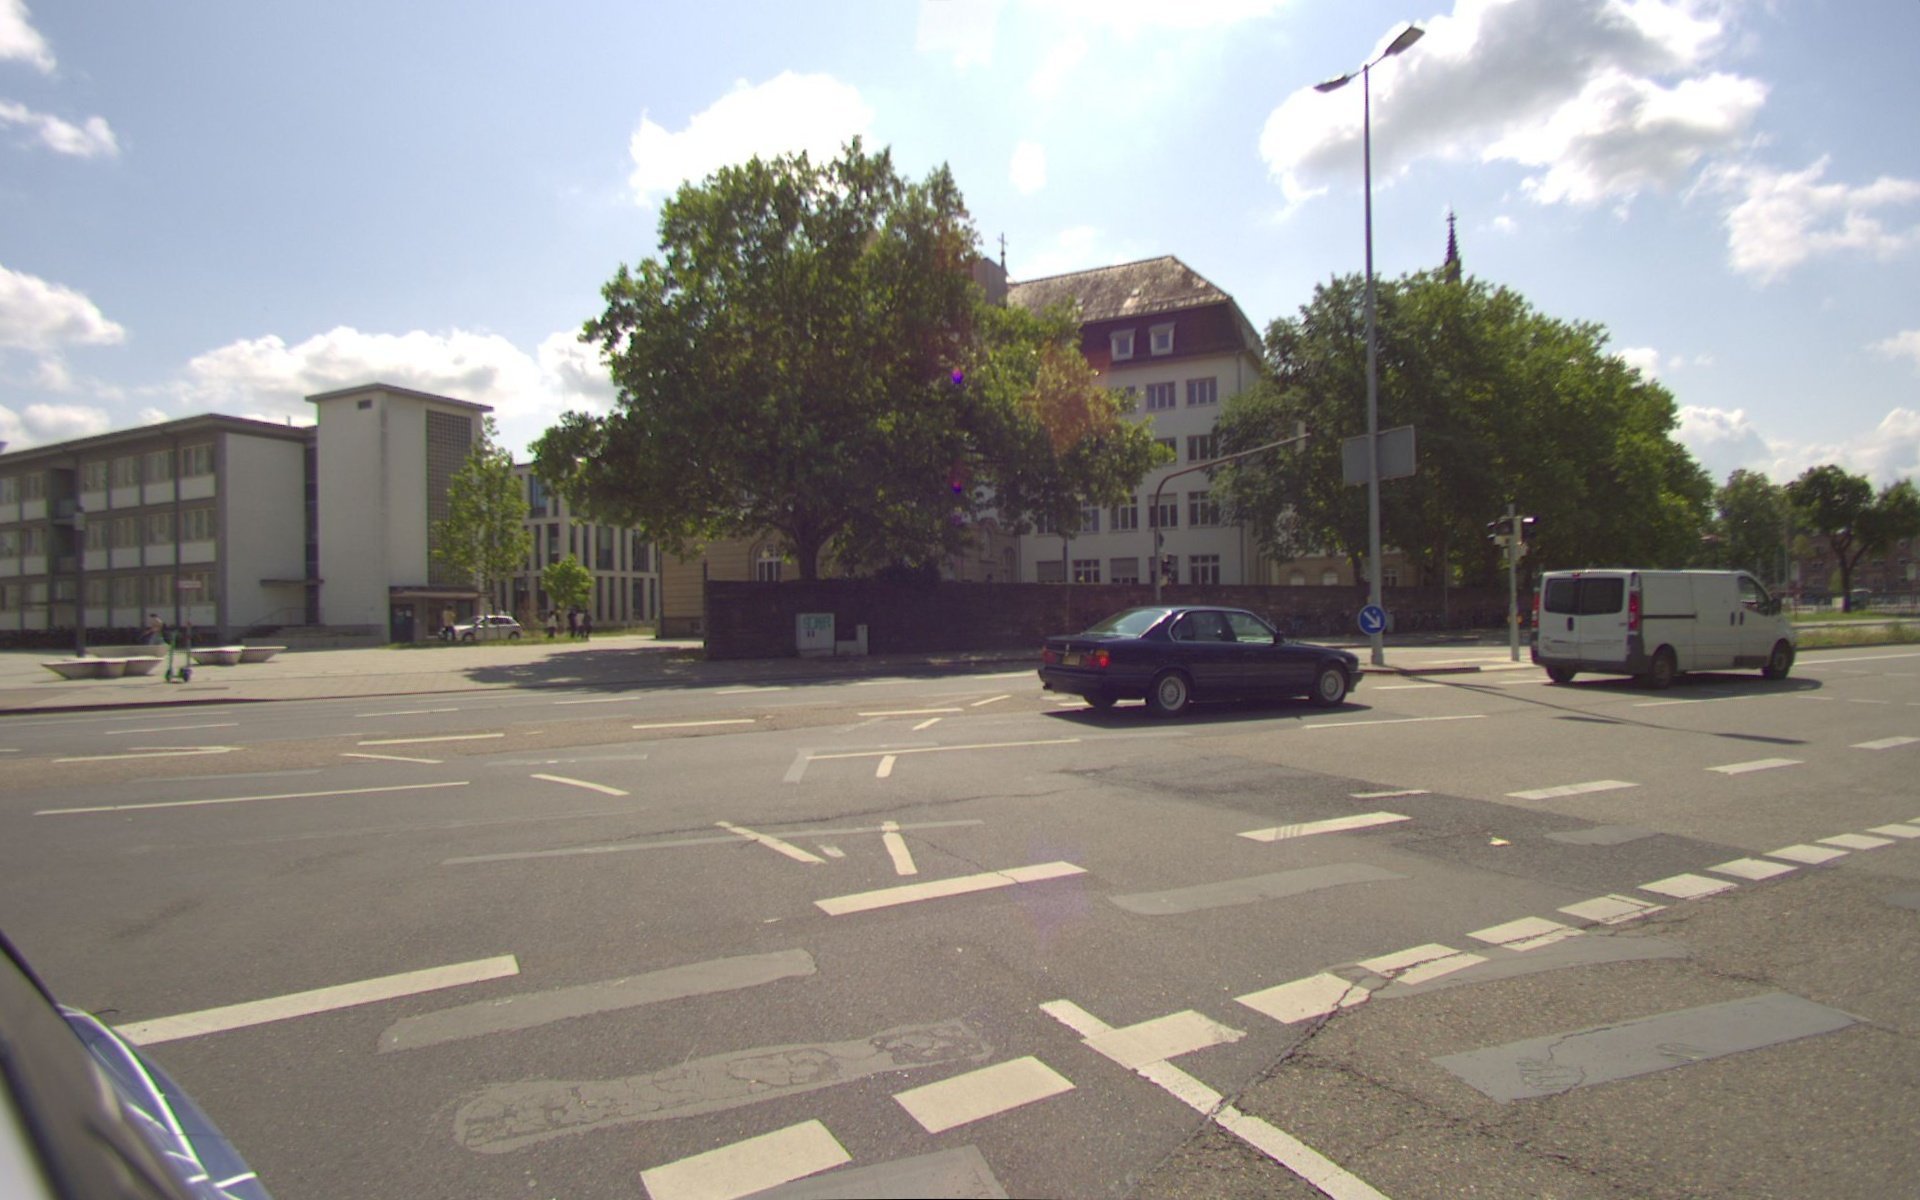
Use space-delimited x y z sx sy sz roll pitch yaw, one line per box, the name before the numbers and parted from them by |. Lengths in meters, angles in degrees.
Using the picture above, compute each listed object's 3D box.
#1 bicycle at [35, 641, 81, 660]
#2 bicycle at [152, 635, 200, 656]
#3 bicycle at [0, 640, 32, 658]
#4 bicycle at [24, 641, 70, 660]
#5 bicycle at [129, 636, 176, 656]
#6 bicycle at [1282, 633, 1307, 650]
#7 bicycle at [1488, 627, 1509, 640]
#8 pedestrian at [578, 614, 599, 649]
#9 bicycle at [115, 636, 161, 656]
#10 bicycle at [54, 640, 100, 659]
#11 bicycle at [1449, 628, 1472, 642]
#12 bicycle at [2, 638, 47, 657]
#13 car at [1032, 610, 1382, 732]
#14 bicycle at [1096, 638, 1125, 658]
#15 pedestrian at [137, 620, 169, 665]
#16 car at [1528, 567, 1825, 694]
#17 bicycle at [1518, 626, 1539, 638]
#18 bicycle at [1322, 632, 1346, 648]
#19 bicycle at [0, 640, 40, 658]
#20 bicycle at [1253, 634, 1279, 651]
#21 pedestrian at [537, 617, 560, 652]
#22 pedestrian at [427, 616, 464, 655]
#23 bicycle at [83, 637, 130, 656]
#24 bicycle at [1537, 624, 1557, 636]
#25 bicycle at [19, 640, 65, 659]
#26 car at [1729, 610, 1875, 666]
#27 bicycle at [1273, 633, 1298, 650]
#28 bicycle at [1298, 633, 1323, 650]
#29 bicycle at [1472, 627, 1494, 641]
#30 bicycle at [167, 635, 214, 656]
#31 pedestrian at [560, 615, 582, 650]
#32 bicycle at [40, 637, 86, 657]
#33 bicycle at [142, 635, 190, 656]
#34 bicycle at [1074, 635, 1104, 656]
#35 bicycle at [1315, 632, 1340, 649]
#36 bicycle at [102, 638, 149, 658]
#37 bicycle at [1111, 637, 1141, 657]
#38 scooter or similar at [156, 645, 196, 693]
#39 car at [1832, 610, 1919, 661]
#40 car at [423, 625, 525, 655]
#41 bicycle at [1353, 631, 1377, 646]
bicycle | -48.161 2.674 54.076 0.527 0.962 1.754 1 -1 32
bicycle | -38.522 2.212 49.738 0.527 0.962 1.754 1 -1 32
bicycle | -53.385 2.764 56.858 0.527 0.962 1.754 1 -1 32
bicycle | -49.481 2.721 54.842 0.527 0.962 1.754 1 -1 32
bicycle | -40.475 2.299 50.737 0.527 0.962 1.754 1 -1 32
bicycle | 14.342 1.783 43.409 1.001 0.687 0.406 0 0 22
bicycle | 29.734 1.835 55.868 1.001 0.687 0.406 0 0 22
pedestrian | -19.540 1.642 53.190 0.852 1.803 0.845 -1 -1 -7
bicycle | -41.664 2.334 51.310 0.527 0.962 1.754 1 -1 32
bicycle | -46.249 2.581 53.011 0.527 0.962 1.754 1 -1 32
bicycle | 25.932 1.822 52.440 1.001 0.687 0.406 0 0 22
bicycle | -51.696 2.620 55.947 0.527 0.962 1.754 1 -1 32
car | 3.381 0.862 13.716 4.534 1.397 1.703 0 -1 -25
bicycle | 5.515 1.752 37.122 1.005 0.687 0.404 0 0 36
pedestrian | -32.869 1.742 41.227 0.675 1.803 0.835 -2 -2 30
car | 12.604 0.457 17.768 5.104 1.970 2.019 0 0 -26
bicycle | 33.149 1.854 59.008 1.001 0.687 0.406 0 0 22
bicycle | 16.727 1.786 45.272 1.001 0.687 0.406 0 0 22
bicycle | -52.495 2.712 56.367 0.527 0.962 1.754 1 -1 32
bicycle | 12.891 1.778 42.600 1.001 0.687 0.406 0 0 22
pedestrian | -21.672 1.793 53.295 0.804 1.803 0.842 -1 -1 4
pedestrian | -23.086 1.580 45.438 1.277 1.663 1.330 -1 -1 -17
bicycle | -43.911 2.388 52.072 0.527 0.962 1.754 1 -1 32
bicycle | 35.933 1.854 61.989 1.001 0.687 0.406 0 0 22
bicycle | -50.041 2.686 55.183 0.527 0.962 1.754 1 -1 32
car | 24.097 1.042 28.968 3.739 1.483 1.760 0 -1 -25
bicycle | 13.846 1.781 43.048 1.001 0.687 0.406 0 0 22
bicycle | 15.195 1.786 43.913 1.001 0.687 0.406 0 0 22
bicycle | 28.143 1.830 54.483 1.001 0.687 0.406 0 0 22
bicycle | -37.293 2.218 49.076 0.528 0.962 1.753 0 -1 34
pedestrian | -20.497 1.707 53.315 0.879 1.803 0.844 -1 -2 -3
bicycle | -47.439 2.480 53.547 0.527 0.962 1.754 1 -1 32
bicycle | -39.326 2.257 50.137 0.527 0.962 1.754 1 -1 32
bicycle | 4.639 1.626 36.379 1.005 0.687 0.404 0 0 36
bicycle | 16.223 1.790 44.671 1.001 0.687 0.406 0 0 22
bicycle | -42.662 2.438 51.763 0.527 0.962 1.754 1 -1 32
bicycle | 6.184 1.754 37.686 1.005 0.687 0.404 0 0 36
scooter or similar | -18.150 1.590 23.428 1.148 1.075 0.398 -2 -1 34
car | 28.901 1.058 31.094 3.739 1.483 1.760 0 -1 -25
car | -24.808 2.006 51.826 1.991 1.316 4.451 0 0 28
bicycle | 18.718 1.778 46.796 1.001 0.687 0.406 0 0 22
